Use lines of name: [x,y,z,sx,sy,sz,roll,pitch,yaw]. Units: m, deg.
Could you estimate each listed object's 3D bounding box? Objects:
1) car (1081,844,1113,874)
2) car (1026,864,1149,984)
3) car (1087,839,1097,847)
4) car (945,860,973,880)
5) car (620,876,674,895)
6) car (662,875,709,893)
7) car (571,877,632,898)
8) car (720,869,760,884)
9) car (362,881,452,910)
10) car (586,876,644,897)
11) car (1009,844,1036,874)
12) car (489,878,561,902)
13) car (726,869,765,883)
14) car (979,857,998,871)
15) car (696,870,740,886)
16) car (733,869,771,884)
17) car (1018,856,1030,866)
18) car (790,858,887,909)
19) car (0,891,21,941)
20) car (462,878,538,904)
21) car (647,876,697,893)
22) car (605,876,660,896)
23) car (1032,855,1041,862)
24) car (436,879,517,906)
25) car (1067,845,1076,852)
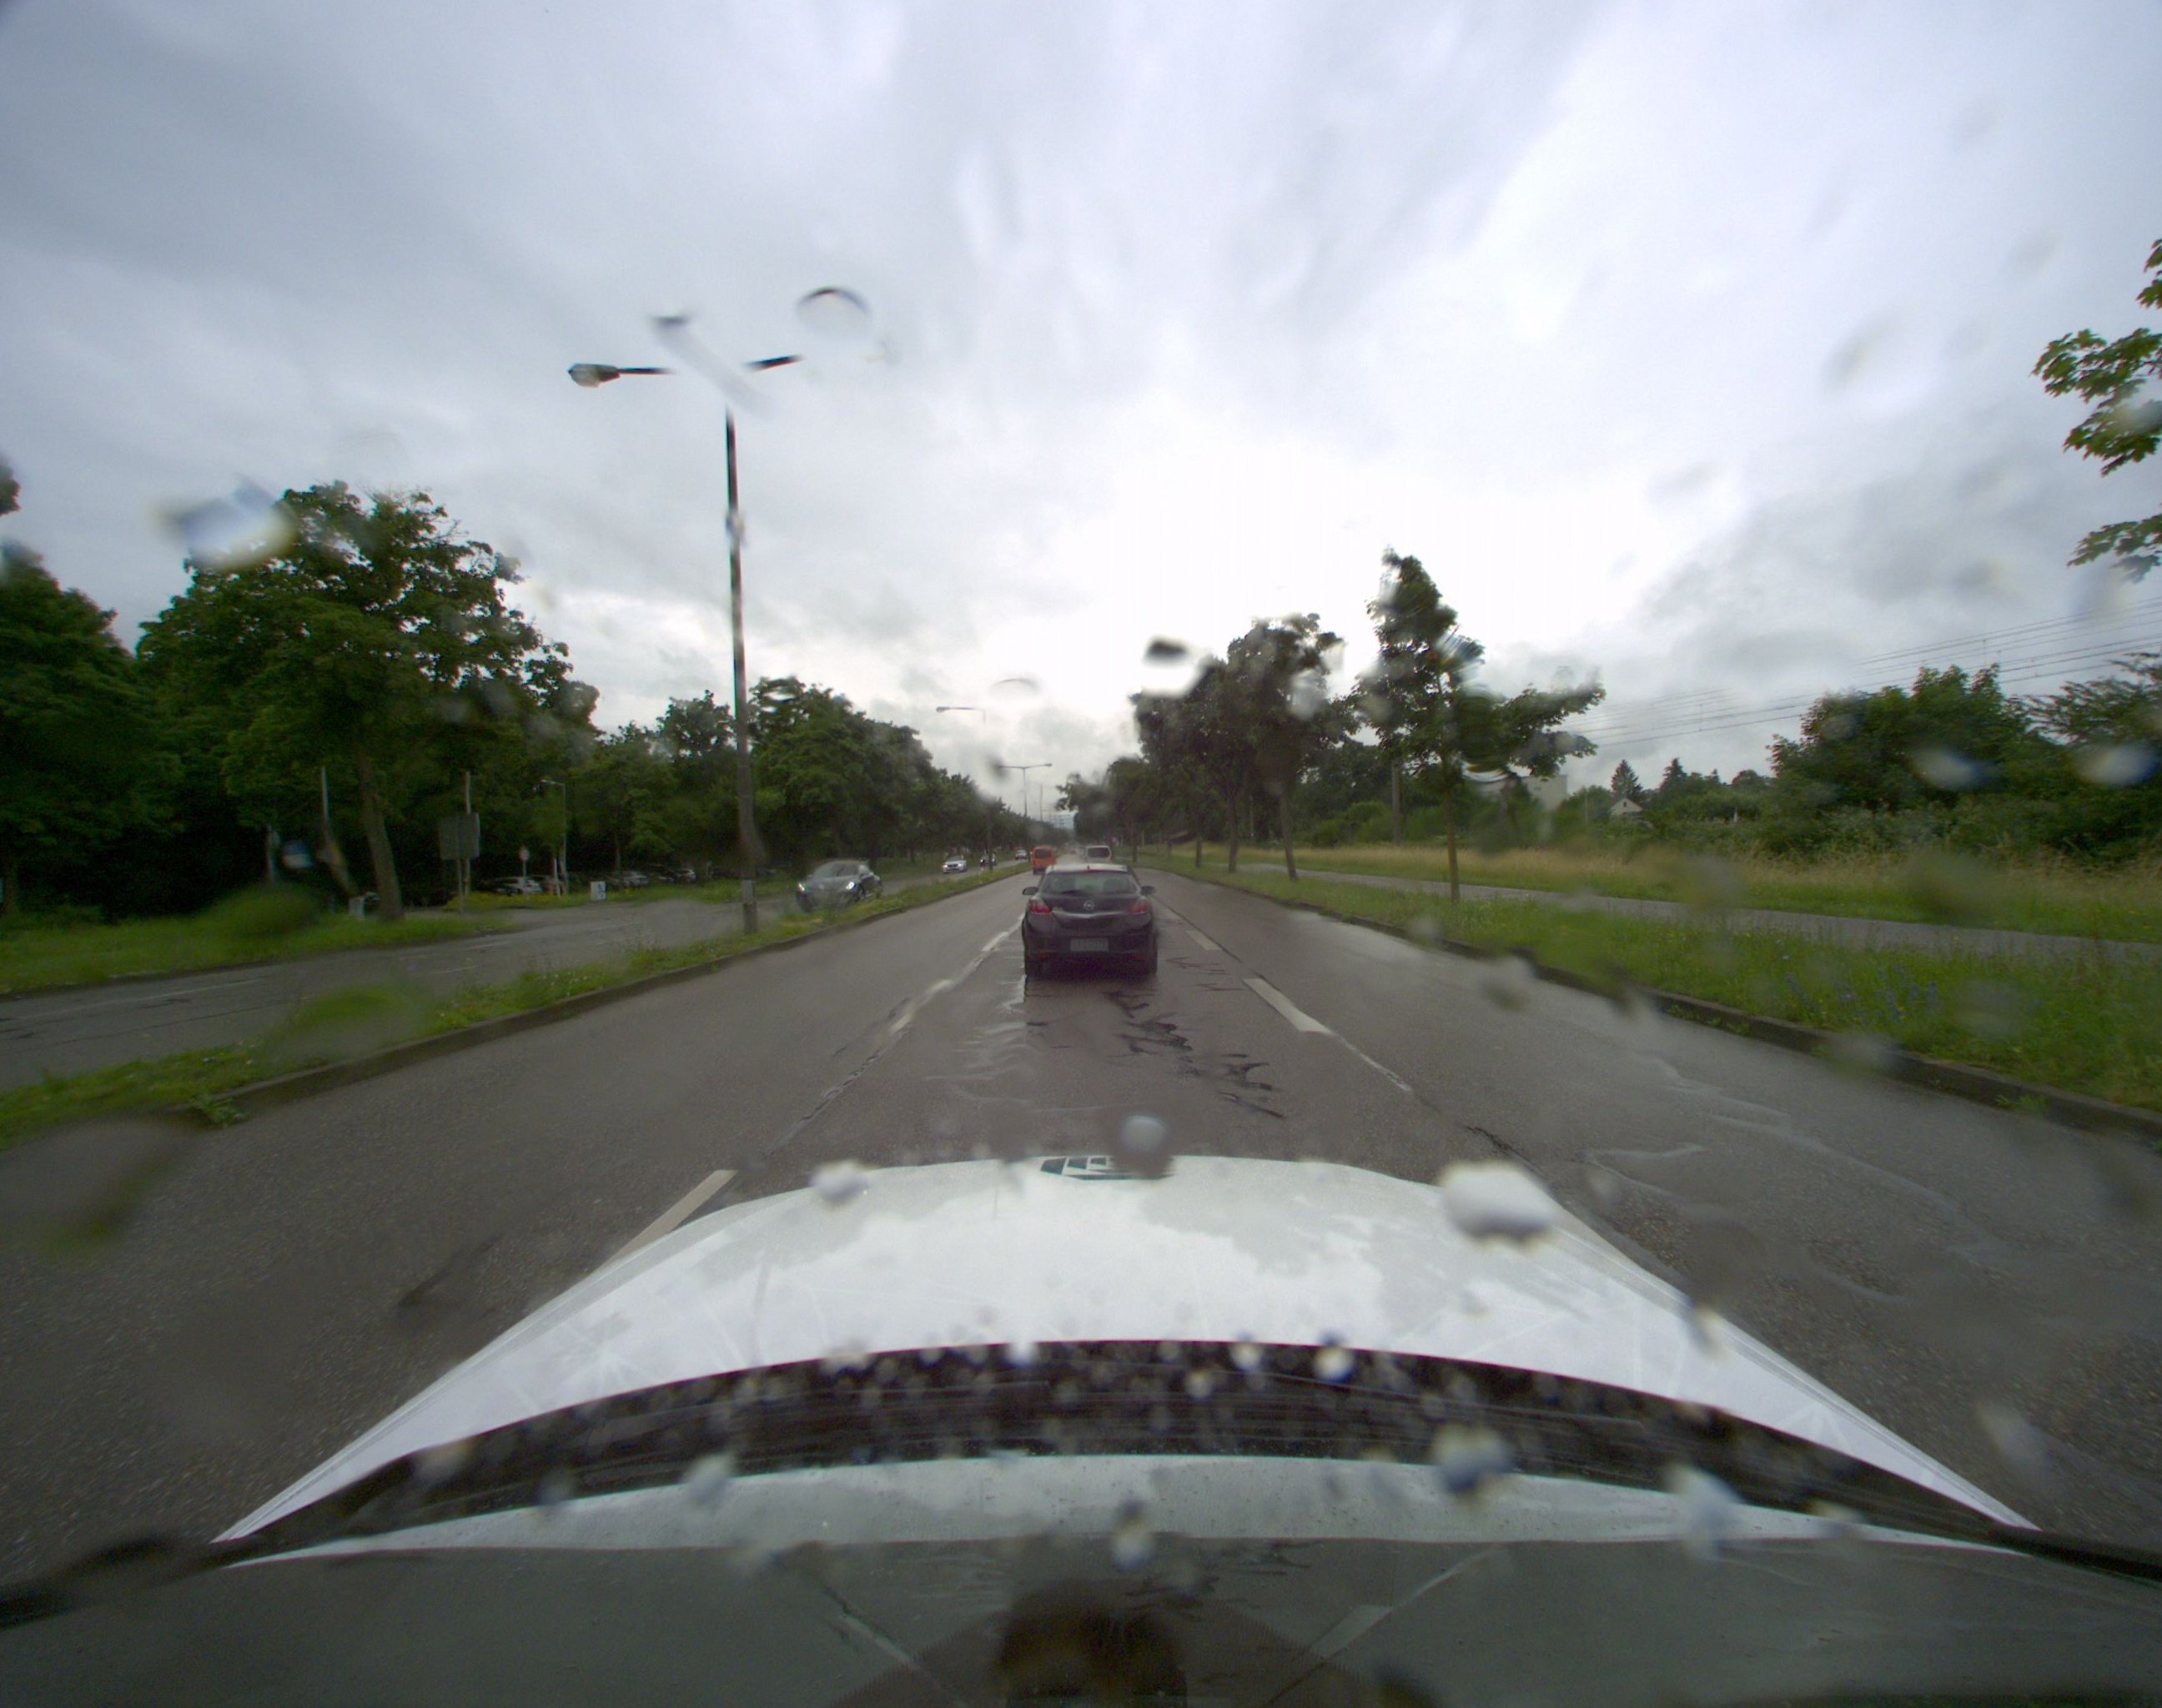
car: [1.070,0.370,56.551,2.053,1.974,4.606,-1,-1,-1]
car: [0.208,0.864,11.623,1.456,1.329,3.762,-1,1,4]
car: [2.690,-2.790,203.493,2.507,2.052,5.294,0,1,1]
car: [-10.765,1.403,71.842,1.714,1.529,3.811,-2,1,2]
car: [-38.252,2.771,71.830,3.827,1.452,1.523,-2,0,-4]
car: [-38.479,2.910,79.298,3.827,1.452,1.523,-2,0,-4]
car: [-37.960,2.608,64.474,3.827,1.452,1.523,-2,0,-4]
car: [-37.518,2.444,89.738,3.841,1.452,1.517,-2,0,-14]
car: [-38.338,2.369,46.356,3.726,1.426,1.486,-2,0,-4]
car: [-38.239,2.655,66.893,3.827,1.452,1.523,-2,0,-4]
car: [-4.109,0.359,57.999,1.730,2.019,4.845,0,-1,-2]
car: [-38.623,2.482,56.676,3.827,1.452,1.523,-2,0,-4]
car: [-37.678,2.461,91.549,3.841,1.452,1.517,-2,0,-14]
car: [-11.004,1.147,96.855,1.714,1.529,3.810,-2,0,2]
car: [-37.713,2.478,84.589,3.836,1.452,1.519,-2,0,-11]
car: [-38.052,2.579,94.187,3.841,1.452,1.517,-2,0,-14]
car: [-9.999,1.229,143.813,1.714,1.529,3.810,-2,0,2]
car: [-7.664,0.877,26.148,1.820,1.450,3.810,-2,0,2]
car: [-37.492,2.130,26.214,3.979,1.640,1.909,-2,0,-4]
car: [-38.478,2.432,53.997,3.827,1.452,1.523,-2,0,-4]
car: [-38.617,2.866,76.889,3.827,1.452,1.523,-2,0,-4]
car: [-38.245,2.714,69.500,3.827,1.452,1.523,-2,0,-4]
car: [-10.123,0.962,186.300,1.714,1.529,3.810,-2,0,2]
car: [-38.206,2.416,51.553,3.827,1.452,1.523,-2,0,-4]
car: [-2.584,-1.386,213.210,1.984,1.879,4.004,-1,-1,4]
